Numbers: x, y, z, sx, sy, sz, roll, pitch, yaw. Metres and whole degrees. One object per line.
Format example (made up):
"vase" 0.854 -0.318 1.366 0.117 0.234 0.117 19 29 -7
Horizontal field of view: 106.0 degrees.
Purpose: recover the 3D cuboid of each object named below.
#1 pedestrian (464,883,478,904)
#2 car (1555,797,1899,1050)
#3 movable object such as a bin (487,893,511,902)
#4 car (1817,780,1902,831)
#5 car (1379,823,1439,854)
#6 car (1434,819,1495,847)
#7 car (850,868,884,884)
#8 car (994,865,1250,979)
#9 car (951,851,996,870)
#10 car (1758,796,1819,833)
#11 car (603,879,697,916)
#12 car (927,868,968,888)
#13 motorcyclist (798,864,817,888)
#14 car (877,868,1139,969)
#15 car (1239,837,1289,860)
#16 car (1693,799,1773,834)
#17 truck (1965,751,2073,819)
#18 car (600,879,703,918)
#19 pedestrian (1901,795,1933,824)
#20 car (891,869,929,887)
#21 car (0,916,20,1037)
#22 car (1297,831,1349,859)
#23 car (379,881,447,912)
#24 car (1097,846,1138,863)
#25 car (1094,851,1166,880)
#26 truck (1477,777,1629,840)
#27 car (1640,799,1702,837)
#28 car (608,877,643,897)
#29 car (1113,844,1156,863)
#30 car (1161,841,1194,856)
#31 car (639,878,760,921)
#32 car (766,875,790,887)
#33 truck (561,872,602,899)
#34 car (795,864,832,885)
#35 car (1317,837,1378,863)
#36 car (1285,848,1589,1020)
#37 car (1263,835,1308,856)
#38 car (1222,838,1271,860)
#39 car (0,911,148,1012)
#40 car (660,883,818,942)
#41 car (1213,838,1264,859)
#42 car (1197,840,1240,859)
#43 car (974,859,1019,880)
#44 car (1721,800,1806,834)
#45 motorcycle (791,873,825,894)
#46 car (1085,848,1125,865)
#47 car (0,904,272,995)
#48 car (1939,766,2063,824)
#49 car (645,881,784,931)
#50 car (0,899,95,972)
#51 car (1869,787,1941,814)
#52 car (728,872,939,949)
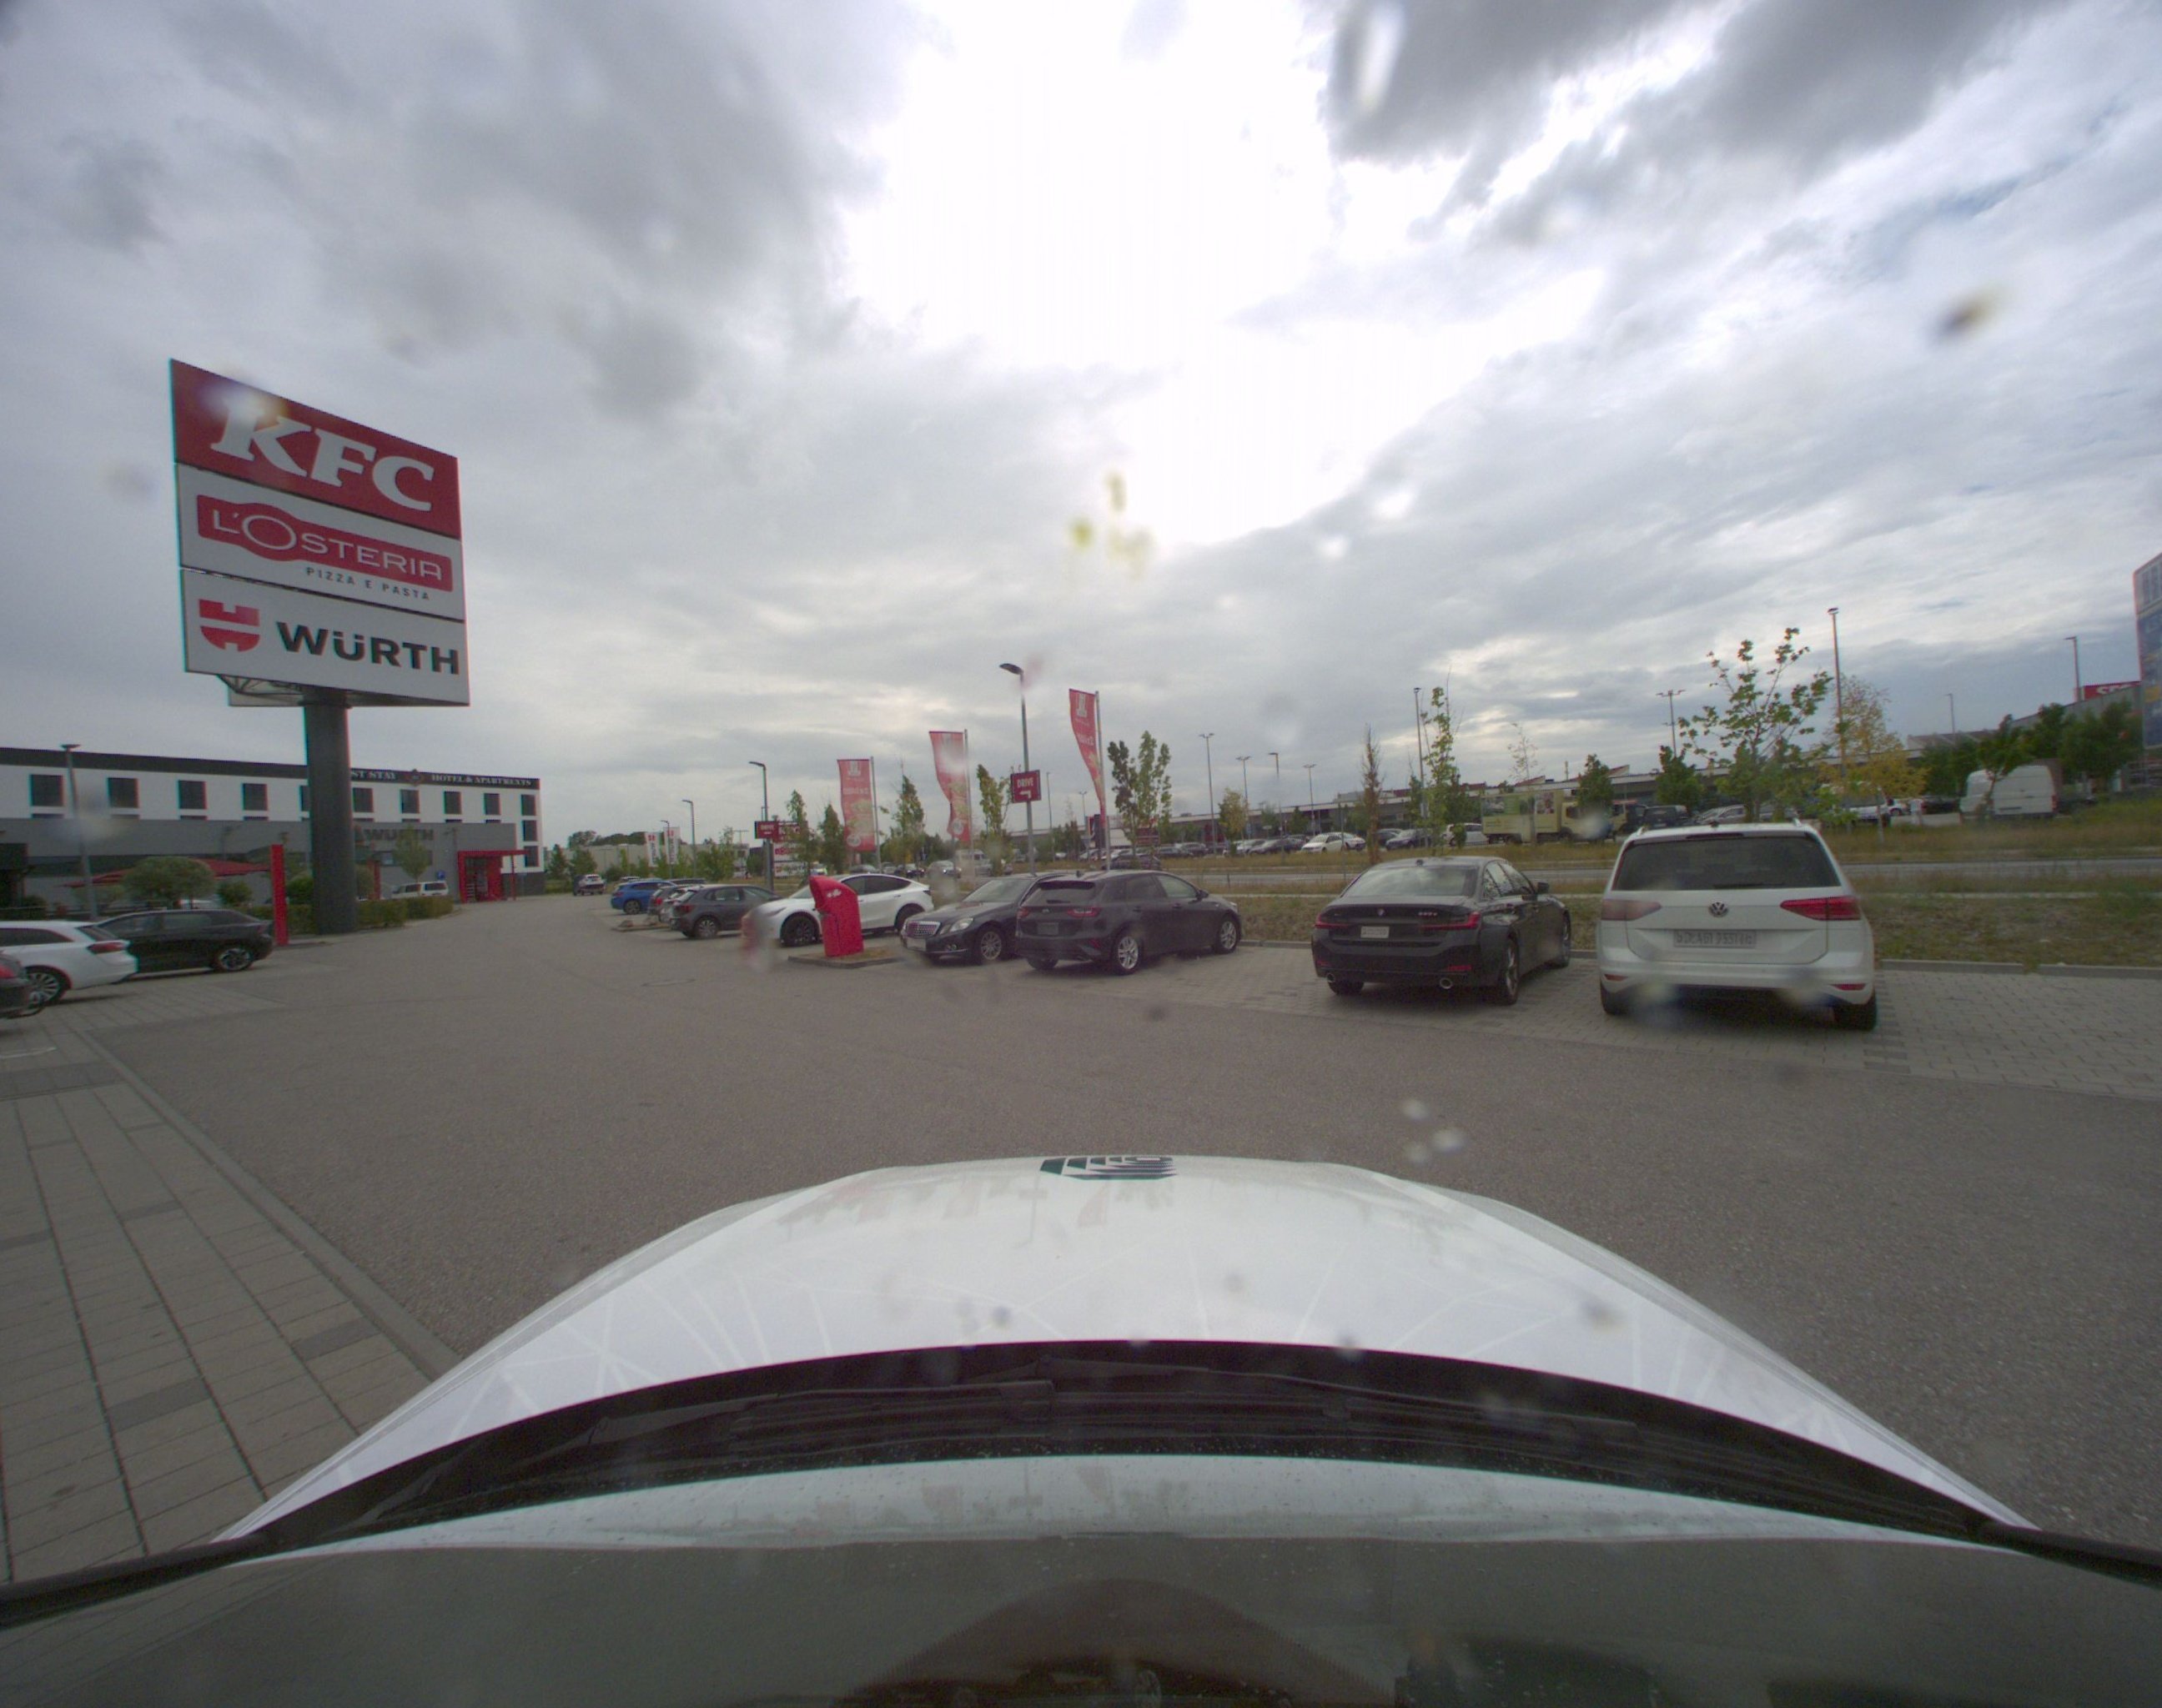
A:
"pedestrian" -53.744 3.456 71.791 0.869 1.802 0.683 -3 -1 34
"car" 6.149 0.486 7.819 1.966 1.713 4.400 -3 -1 40
"movable object such as a bin" -51.212 3.817 71.645 0.952 0.704 1.502 -4 -1 33
"car" 38.478 -2.417 40.415 2.385 2.214 6.099 -3 2 38
"car" 22.859 -1.072 56.646 4.344 1.771 1.909 -5 1 -39
"car" 28.471 -1.569 60.497 3.949 1.771 2.012 -4 1 27
"car" -21.634 2.249 82.078 1.777 1.394 4.171 -3 0 -38
"car" 0.790 0.939 12.802 1.864 1.412 4.096 -3 -1 40
"car" -14.796 0.847 112.017 5.619 2.121 2.316 -5 1 -33
"car" 36.370 -2.078 41.984 2.051 1.638 5.104 -3 2 38
"car" -21.924 2.183 41.458 4.089 1.459 1.758 -4 1 -31
"car" -10.954 1.950 66.766 1.837 1.459 3.959 -5 1 -32
"motorcyclist" -18.335 1.486 54.639 0.946 1.488 0.821 -4 0 -37
"car" -1.165 1.058 14.976 1.887 1.456 4.771 -3 -1 42
"car" 15.077 -0.473 67.040 4.076 1.539 1.751 -5 1 -39
"car" 44.305 -2.563 55.448 3.948 2.013 2.013 -4 1 31
"truck" 58.647 -4.293 51.155 2.622 3.742 8.311 -4 1 37
"car" -20.696 2.106 39.300 4.232 1.544 1.845 -3 0 -33
"pedestrian" 42.763 -2.279 41.669 0.965 1.429 0.793 -4 1 37
"car" -15.676 2.222 74.580 1.864 1.499 4.239 -3 0 -34
"car" -15.264 1.578 9.215 1.736 1.487 3.965 -3 -1 37
"car" 18.633 -0.697 62.648 1.975 1.771 4.348 -4 1 43
"car" -50.302 3.208 61.345 4.013 1.854 2.074 -4 5 22
"car" 3.857 0.034 86.084 4.094 1.501 1.843 -5 1 -38
"car" 3.015 0.740 51.173 1.810 1.552 4.802 -5 1 -35
"truck" 28.803 -2.670 50.288 3.024 3.195 8.393 -5 1 -13
"car" 33.196 -2.016 45.781 2.051 1.884 5.101 -3 0 44
"car" -42.633 3.100 76.178 1.873 1.650 3.950 -1 -2 -45
"car" 5.496 -0.079 83.041 4.078 1.539 1.976 -5 1 -42
"car" 13.753 -0.795 115.713 4.133 1.837 2.013 -3 1 42
"car" -14.796 1.723 31.659 4.017 1.428 1.709 -2 -1 -35
"car" -35.315 3.165 94.963 1.474 1.336 3.125 -3 0 -42
"truck" -53.974 3.448 87.917 2.352 2.406 7.800 -2 -4 -42
"car" -28.834 2.239 87.688 2.011 2.086 5.169 -4 1 -40
"car" 21.690 -0.315 66.401 4.267 1.771 1.933 -4 1 45
"car" 4.290 0.709 9.348 1.922 1.466 4.544 -3 -1 40
"car" 21.641 -0.909 86.255 4.133 1.837 2.013 -3 1 41
"car" 14.086 -0.432 69.176 4.076 1.539 1.751 -5 1 -39
"car" -18.767 1.892 13.482 1.974 1.486 4.207 -3 0 37
"car" -9.740 1.616 23.340 3.828 1.412 1.718 -1 -2 -41
"car" 14.365 -0.495 74.351 4.173 1.539 1.981 -5 1 -29
"car" 15.312 -0.479 90.722 4.133 1.837 2.013 -3 1 41
"car" -7.128 1.279 68.286 1.808 1.552 4.807 -5 1 -30
"car" 42.789 -2.307 51.180 3.948 1.738 1.903 -4 1 38
"motorcycle" -18.335 1.984 54.664 1.930 1.208 0.786 -4 0 -37
"car" 2.668 0.262 88.308 4.078 1.539 1.885 -5 1 -42
"car" -21.078 2.042 18.104 1.719 1.528 4.150 -4 -1 37
"car" 42.107 -2.701 37.492 2.315 2.267 6.549 -4 1 36
"car" -12.356 1.715 27.520 3.958 1.412 1.819 -1 -1 -38
"car" -26.807 2.086 19.421 1.713 1.595 4.027 -4 1 37
"car" 67.290 -4.391 66.607 3.948 1.837 2.013 -4 1 41
"car" -5.967 1.304 19.990 4.571 1.541 1.902 -1 -2 -43
